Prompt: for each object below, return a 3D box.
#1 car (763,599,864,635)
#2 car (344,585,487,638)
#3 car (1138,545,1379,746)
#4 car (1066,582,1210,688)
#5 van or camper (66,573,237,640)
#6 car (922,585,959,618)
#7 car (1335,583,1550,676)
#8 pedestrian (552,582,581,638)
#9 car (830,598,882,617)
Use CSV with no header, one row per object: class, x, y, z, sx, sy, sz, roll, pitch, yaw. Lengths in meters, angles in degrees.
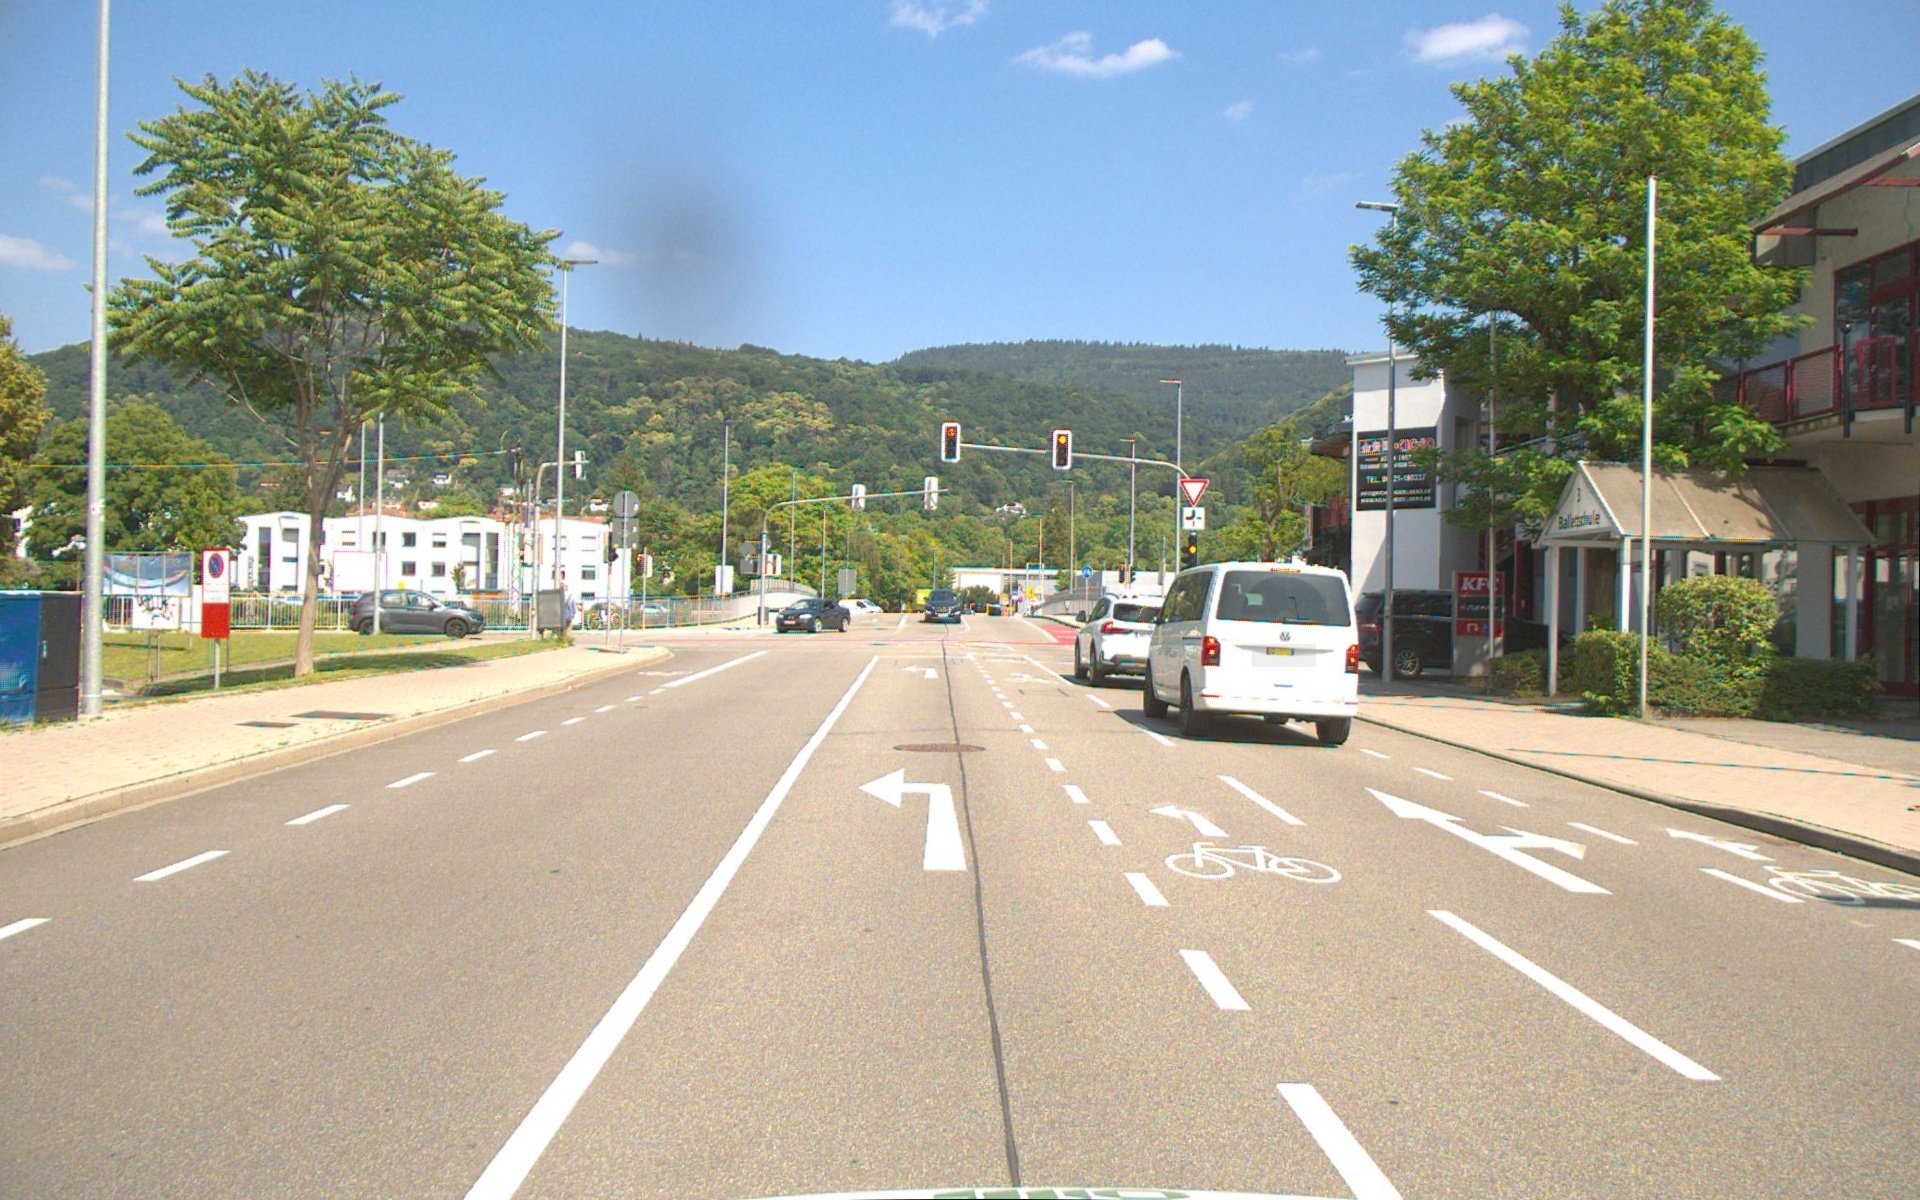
car,-5.942,0.663,67.528,1.957,1.394,4.317,1,0,31
car,-17.281,0.356,52.597,4.249,1.620,1.989,0,0,-19
car,3.459,0.465,20.064,1.896,2.095,4.542,2,1,-2
car,3.188,0.584,30.455,1.896,1.716,4.542,3,0,-3
van or camper,-22.183,0.170,45.543,3.927,1.601,1.989,3,0,-19
car,-0.974,0.056,82.934,1.812,1.616,3.999,1,0,-1
car,9.807,0.570,33.885,3.903,1.806,2.001,1,0,5
pedestrian,-11.324,0.282,47.603,0.684,1.601,0.675,1,0,-4
car,-9.450,0.669,149.893,4.362,1.616,1.853,0,0,28
